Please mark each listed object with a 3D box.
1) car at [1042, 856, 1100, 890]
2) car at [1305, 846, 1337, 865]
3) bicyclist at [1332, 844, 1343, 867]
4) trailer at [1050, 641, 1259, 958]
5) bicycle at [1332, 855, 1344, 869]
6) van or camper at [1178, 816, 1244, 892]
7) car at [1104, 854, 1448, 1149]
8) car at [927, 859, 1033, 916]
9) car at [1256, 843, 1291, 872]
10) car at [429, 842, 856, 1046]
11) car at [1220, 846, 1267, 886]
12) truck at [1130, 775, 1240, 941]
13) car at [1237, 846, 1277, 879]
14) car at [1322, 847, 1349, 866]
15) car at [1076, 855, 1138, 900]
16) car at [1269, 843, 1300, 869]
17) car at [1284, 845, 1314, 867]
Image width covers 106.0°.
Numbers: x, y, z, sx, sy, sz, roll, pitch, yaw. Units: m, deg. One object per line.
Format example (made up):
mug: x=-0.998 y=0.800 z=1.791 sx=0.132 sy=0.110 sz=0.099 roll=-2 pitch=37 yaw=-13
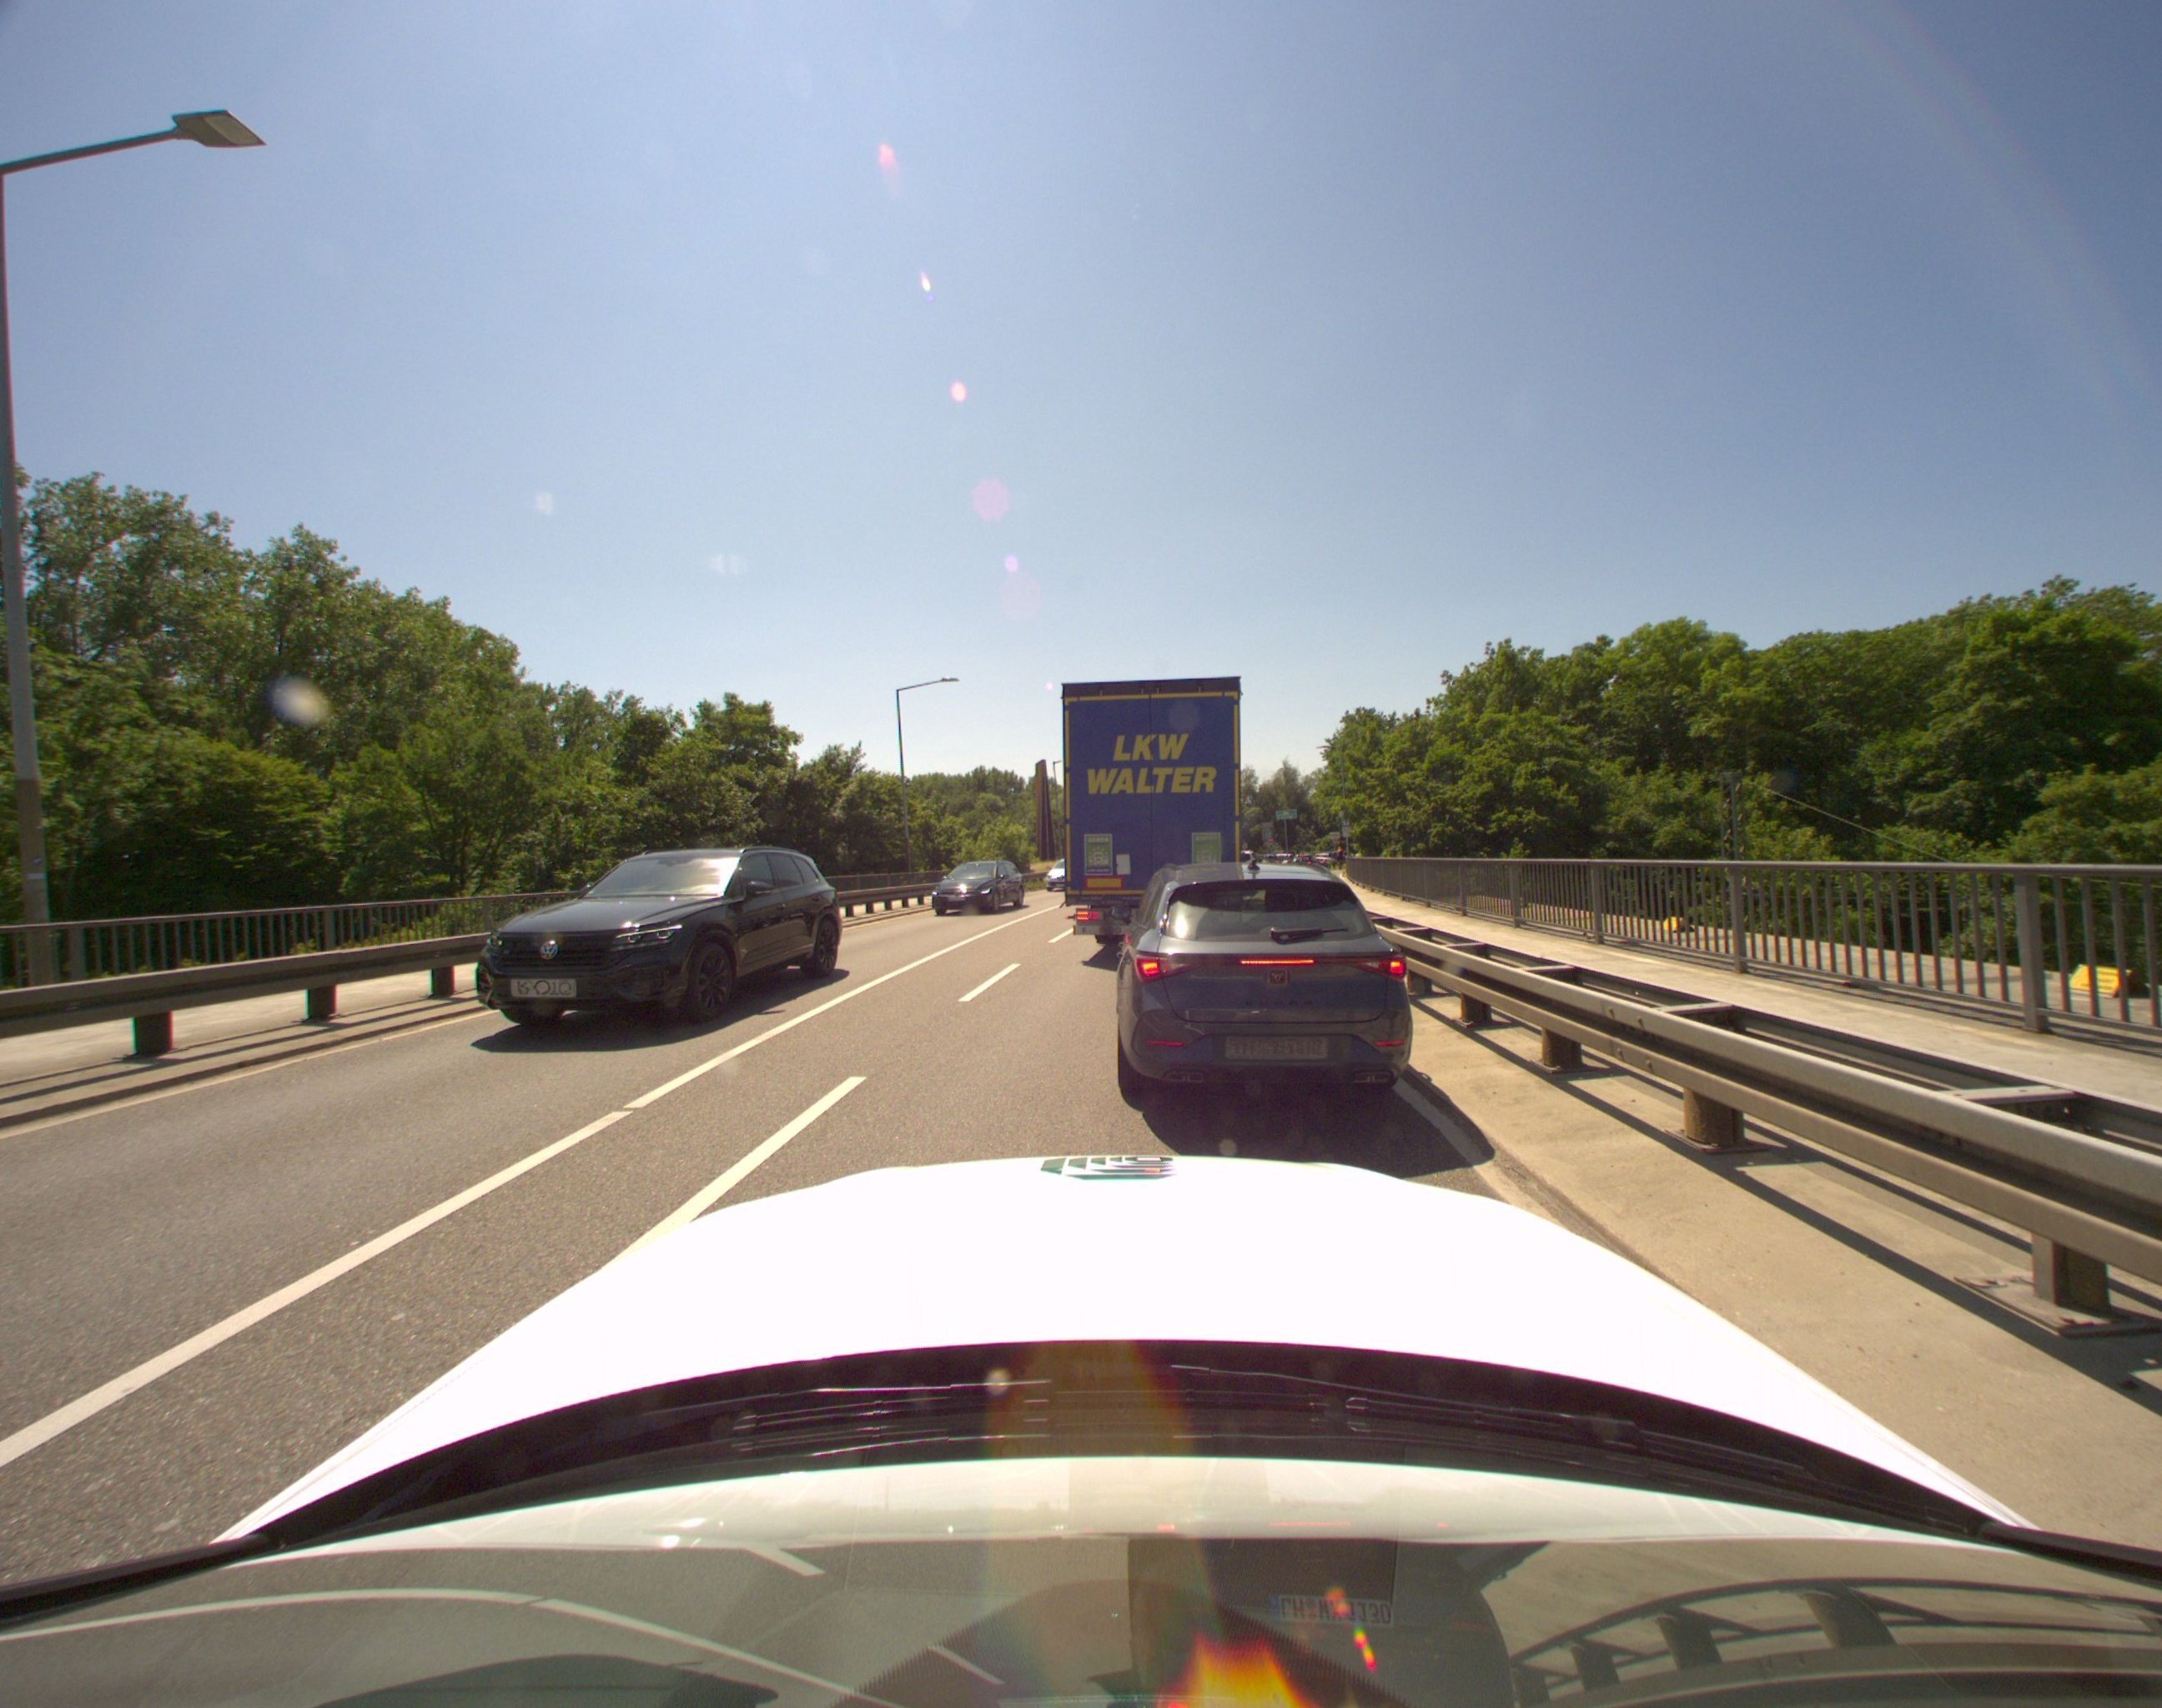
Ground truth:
car: x=-0.413 y=0.859 z=37.875 sx=1.587 sy=1.449 sz=4.072 roll=-1 pitch=0 yaw=15
car: x=21.825 y=0.164 z=74.096 sx=1.975 sy=1.575 sz=4.024 roll=0 pitch=-1 yaw=28
bicyclist: x=19.432 y=0.141 z=61.699 sx=0.574 sy=1.683 sz=0.731 roll=-4 pitch=-1 yaw=11
trailer: x=2.055 y=-0.755 z=17.701 sx=2.887 sy=4.418 sz=12.466 roll=-1 pitch=0 yaw=10
bicycle: x=19.468 y=0.603 z=61.704 sx=0.578 sy=1.035 sz=1.489 roll=-4 pitch=-1 yaw=12
van or camper: x=5.499 y=0.001 z=33.670 sx=2.139 sy=2.815 sz=6.411 roll=-1 pitch=0 yaw=14
car: x=1.112 y=0.753 z=6.058 sx=1.669 sy=1.456 sz=3.963 roll=-1 pitch=0 yaw=4
car: x=-2.866 y=0.923 z=24.076 sx=1.699 sy=1.469 sz=4.474 roll=-1 pitch=0 yaw=12
car: x=13.123 y=0.208 z=55.371 sx=1.706 sy=1.844 sz=4.021 roll=-1 pitch=0 yaw=21
car: x=-4.345 y=0.766 z=9.150 sx=1.957 sy=1.673 sz=4.620 roll=-2 pitch=0 yaw=5
car: x=8.239 y=0.576 z=40.980 sx=1.706 sy=1.844 sz=4.020 roll=-1 pitch=0 yaw=20
truck: x=3.343 y=0.127 z=25.149 sx=2.887 sy=4.418 sz=6.573 roll=-1 pitch=0 yaw=10
car: x=10.271 y=0.455 z=47.253 sx=1.706 sy=1.802 sz=4.020 roll=-1 pitch=0 yaw=20
car: x=24.994 y=0.240 z=79.970 sx=1.669 sy=1.760 sz=4.025 roll=-2 pitch=-1 yaw=30
car: x=1.014 y=0.806 z=29.367 sx=1.667 sy=1.411 sz=3.985 roll=-3 pitch=0 yaw=9
car: x=15.369 y=0.137 z=61.334 sx=1.706 sy=1.844 sz=4.021 roll=-1 pitch=0 yaw=21
car: x=18.236 y=0.167 z=67.920 sx=1.670 sy=1.760 sz=4.023 roll=-1 pitch=-1 yaw=25
